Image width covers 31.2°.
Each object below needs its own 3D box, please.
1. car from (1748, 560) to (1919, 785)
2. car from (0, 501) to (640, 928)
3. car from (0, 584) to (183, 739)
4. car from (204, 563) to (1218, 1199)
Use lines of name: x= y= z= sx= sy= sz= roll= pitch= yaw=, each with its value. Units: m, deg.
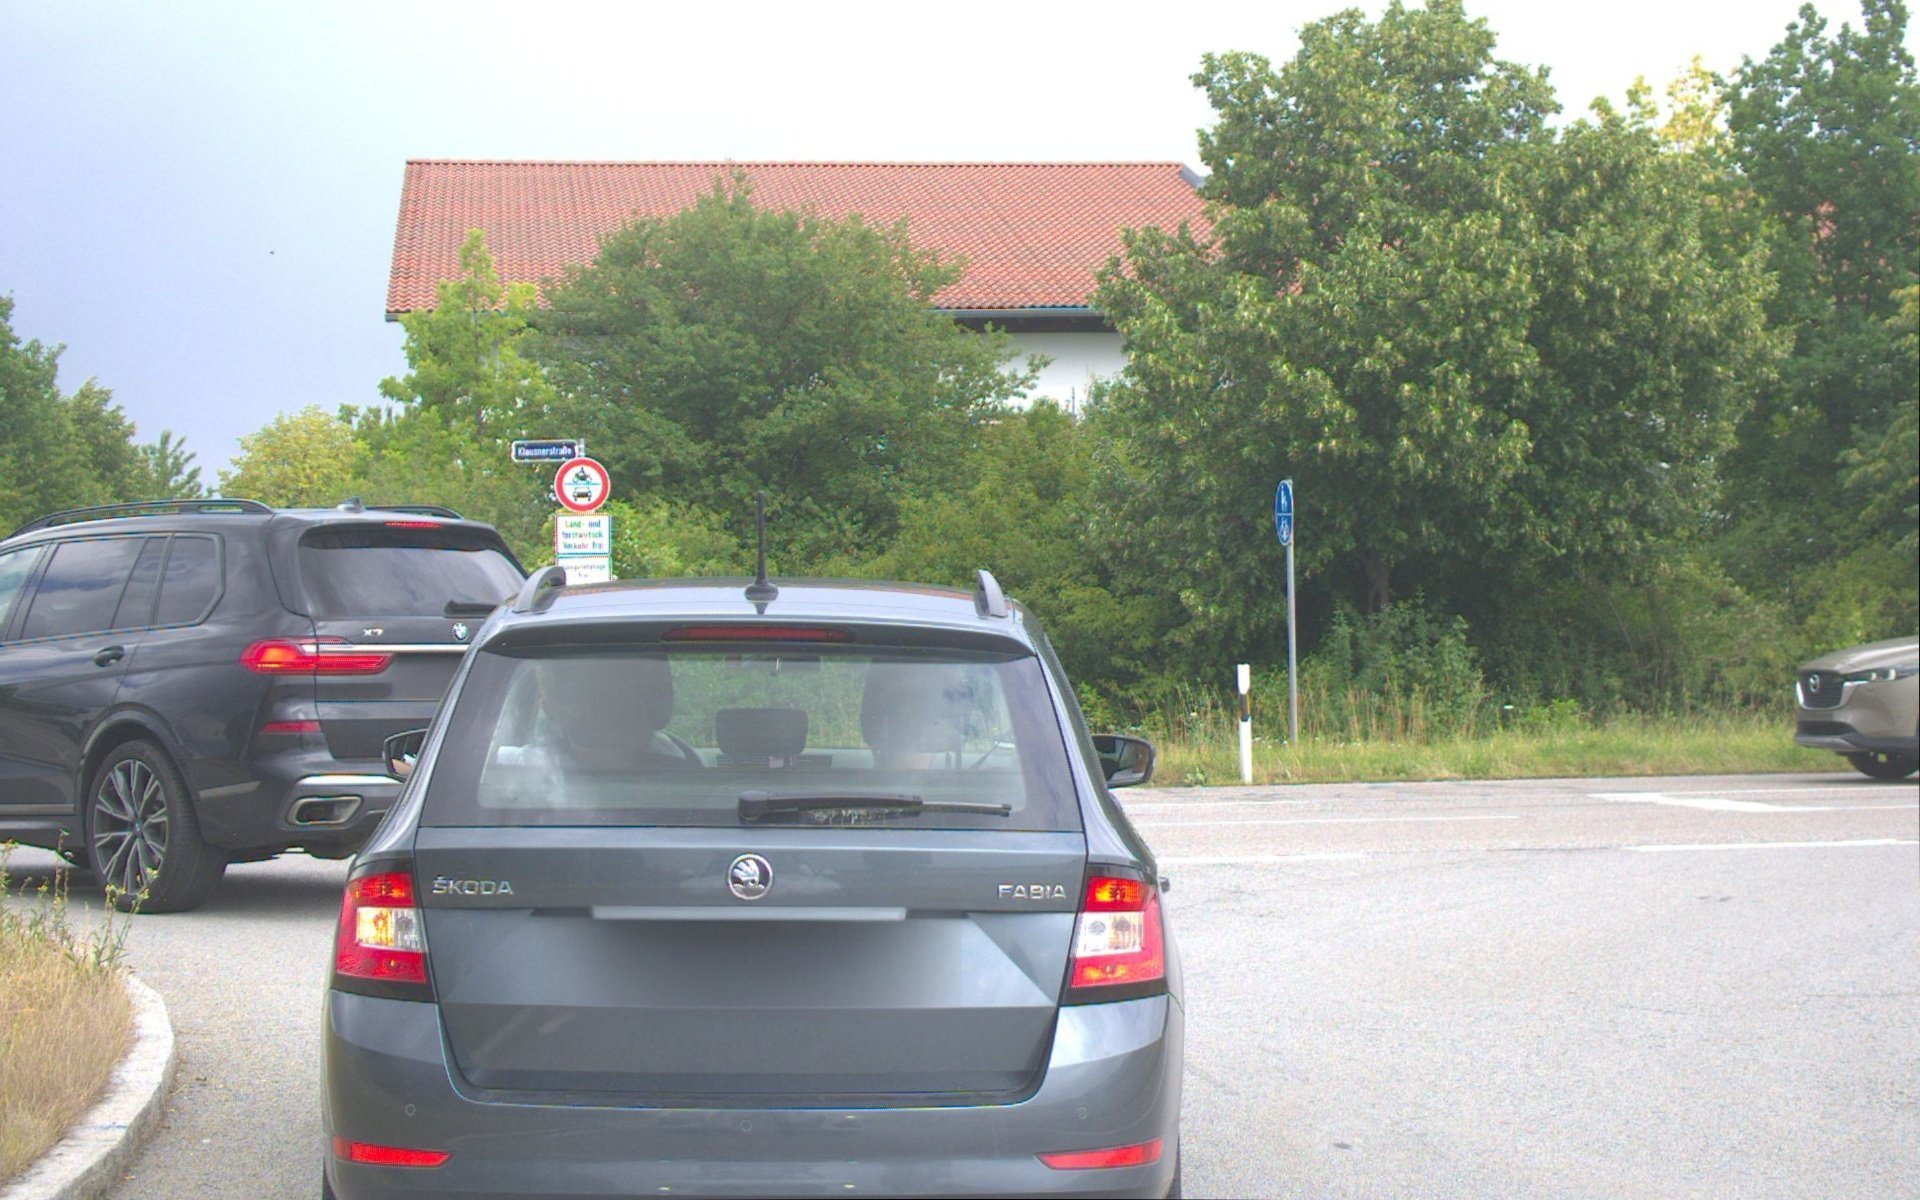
car: x=8.766 y=0.513 z=27.212 sx=4.463 sy=1.676 sz=2.000 roll=-1 pitch=-1 yaw=-10
car: x=-3.831 y=0.494 z=16.584 sx=4.640 sy=1.768 sz=1.995 roll=-1 pitch=0 yaw=44
car: x=-13.636 y=0.846 z=48.554 sx=4.907 sy=2.007 sz=2.338 roll=-1 pitch=2 yaw=32
car: x=-0.519 y=0.667 z=7.565 sx=1.676 sy=1.457 sz=3.708 roll=0 pitch=1 yaw=-4
